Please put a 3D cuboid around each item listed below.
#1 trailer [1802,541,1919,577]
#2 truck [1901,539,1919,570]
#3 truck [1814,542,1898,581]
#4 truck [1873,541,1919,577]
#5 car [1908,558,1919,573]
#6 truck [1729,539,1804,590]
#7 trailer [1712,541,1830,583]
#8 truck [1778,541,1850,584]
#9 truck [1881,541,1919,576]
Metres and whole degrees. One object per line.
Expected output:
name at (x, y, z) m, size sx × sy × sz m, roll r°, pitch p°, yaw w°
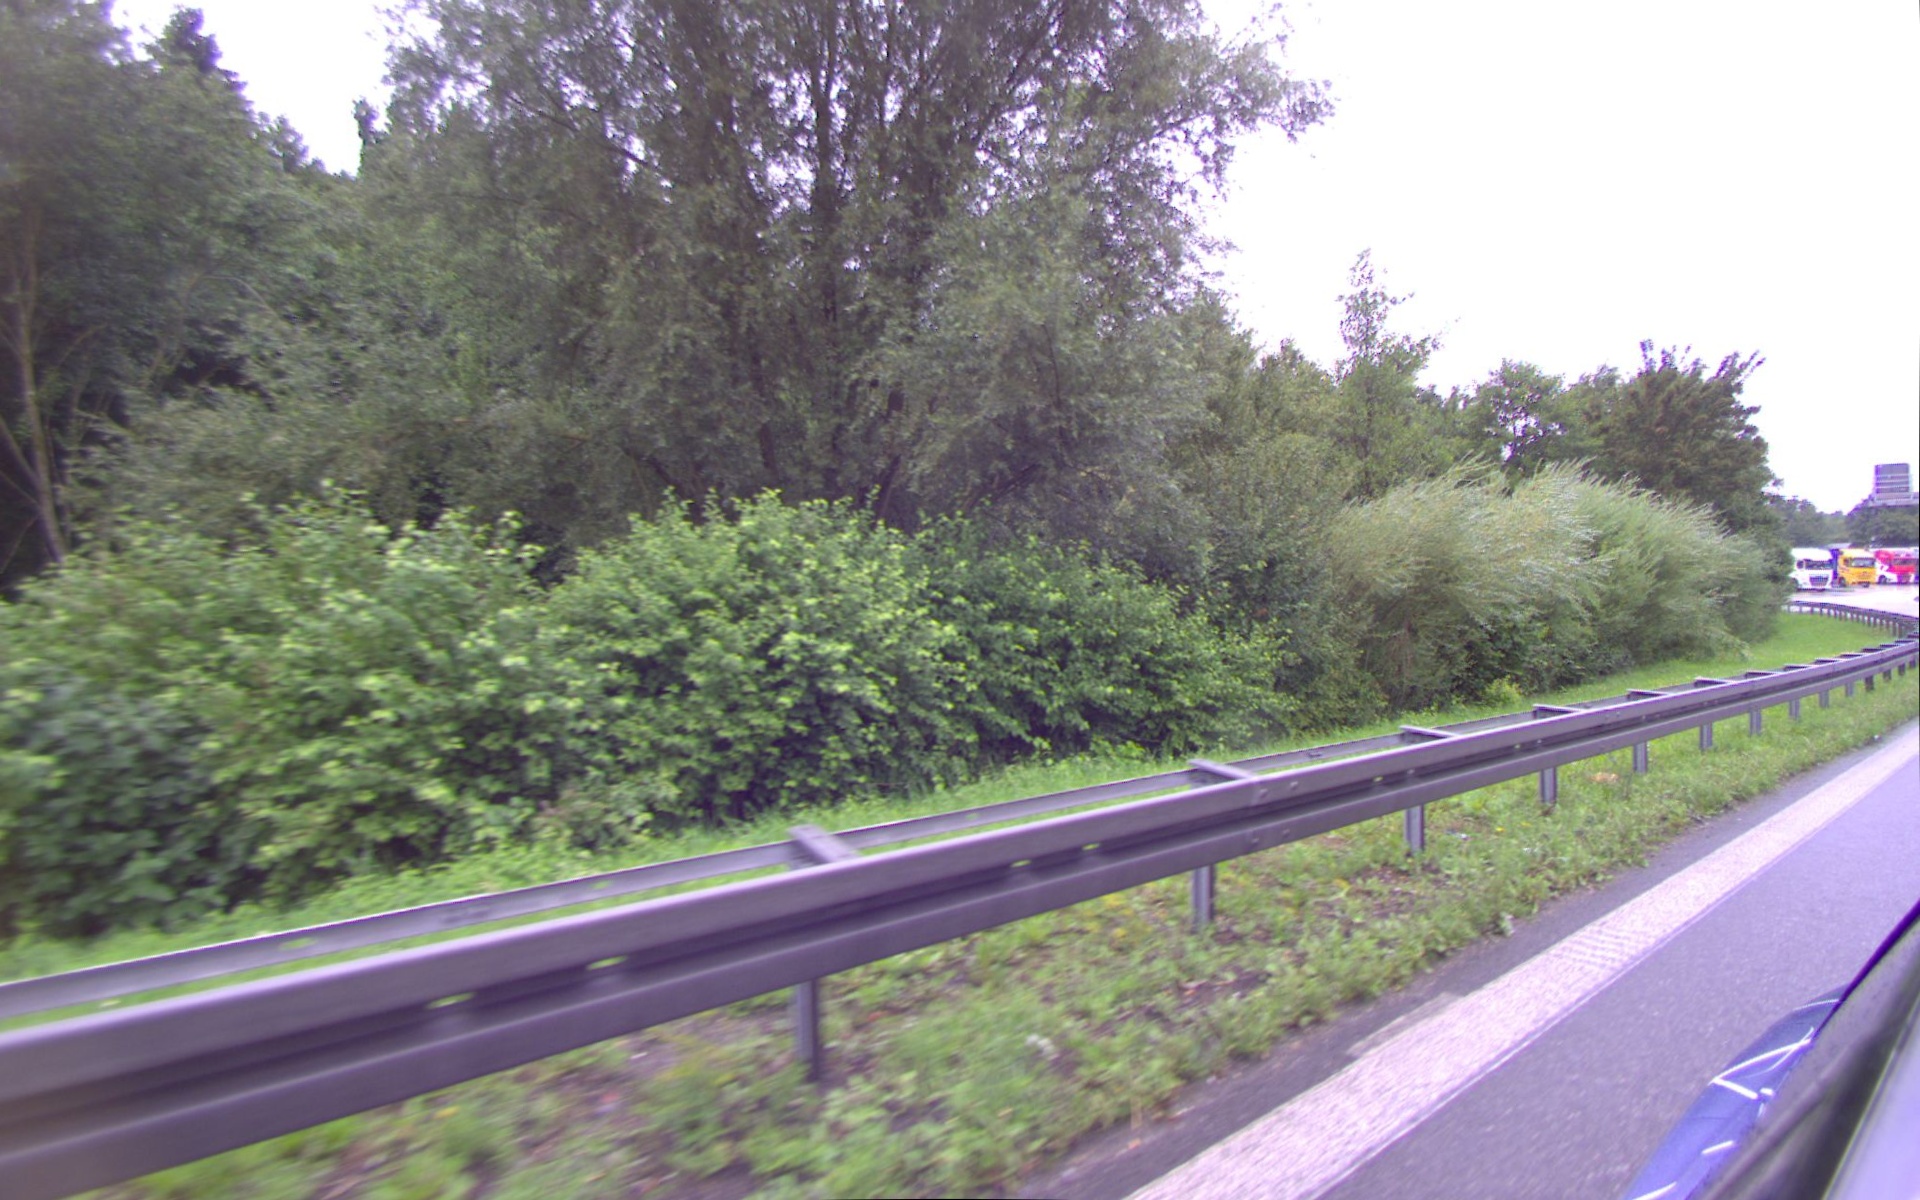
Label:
trailer at (107.714, -4.952, 120.963) m, size 3.190 × 3.967 × 14.810 m, roll 0°, pitch 2°, yaw 7°
truck at (128.650, -5.971, 133.008) m, size 3.190 × 4.141 × 7.927 m, roll 0°, pitch 2°, yaw 7°
truck at (95.108, -4.150, 107.613) m, size 2.795 × 3.967 × 8.109 m, roll 0°, pitch 2°, yaw 11°
truck at (106.888, -4.621, 114.279) m, size 3.190 × 3.967 × 5.015 m, roll 0°, pitch 2°, yaw 7°
car at (123.547, -4.411, 129.084) m, size 1.818 × 1.881 × 3.991 m, roll -1°, pitch 2°, yaw 9°
truck at (69.114, -3.083, 86.824) m, size 2.781 × 4.196 × 5.290 m, roll -1°, pitch 2°, yaw 10°
trailer at (82.124, -3.923, 103.054) m, size 2.798 × 3.967 × 13.925 m, roll 0°, pitch 2°, yaw 9°
truck at (81.014, -3.549, 96.090) m, size 2.784 × 3.961 × 5.399 m, roll 0°, pitch 2°, yaw 9°
truck at (110.863, -4.852, 117.257) m, size 2.850 × 3.967 × 6.547 m, roll 0°, pitch 2°, yaw 7°
